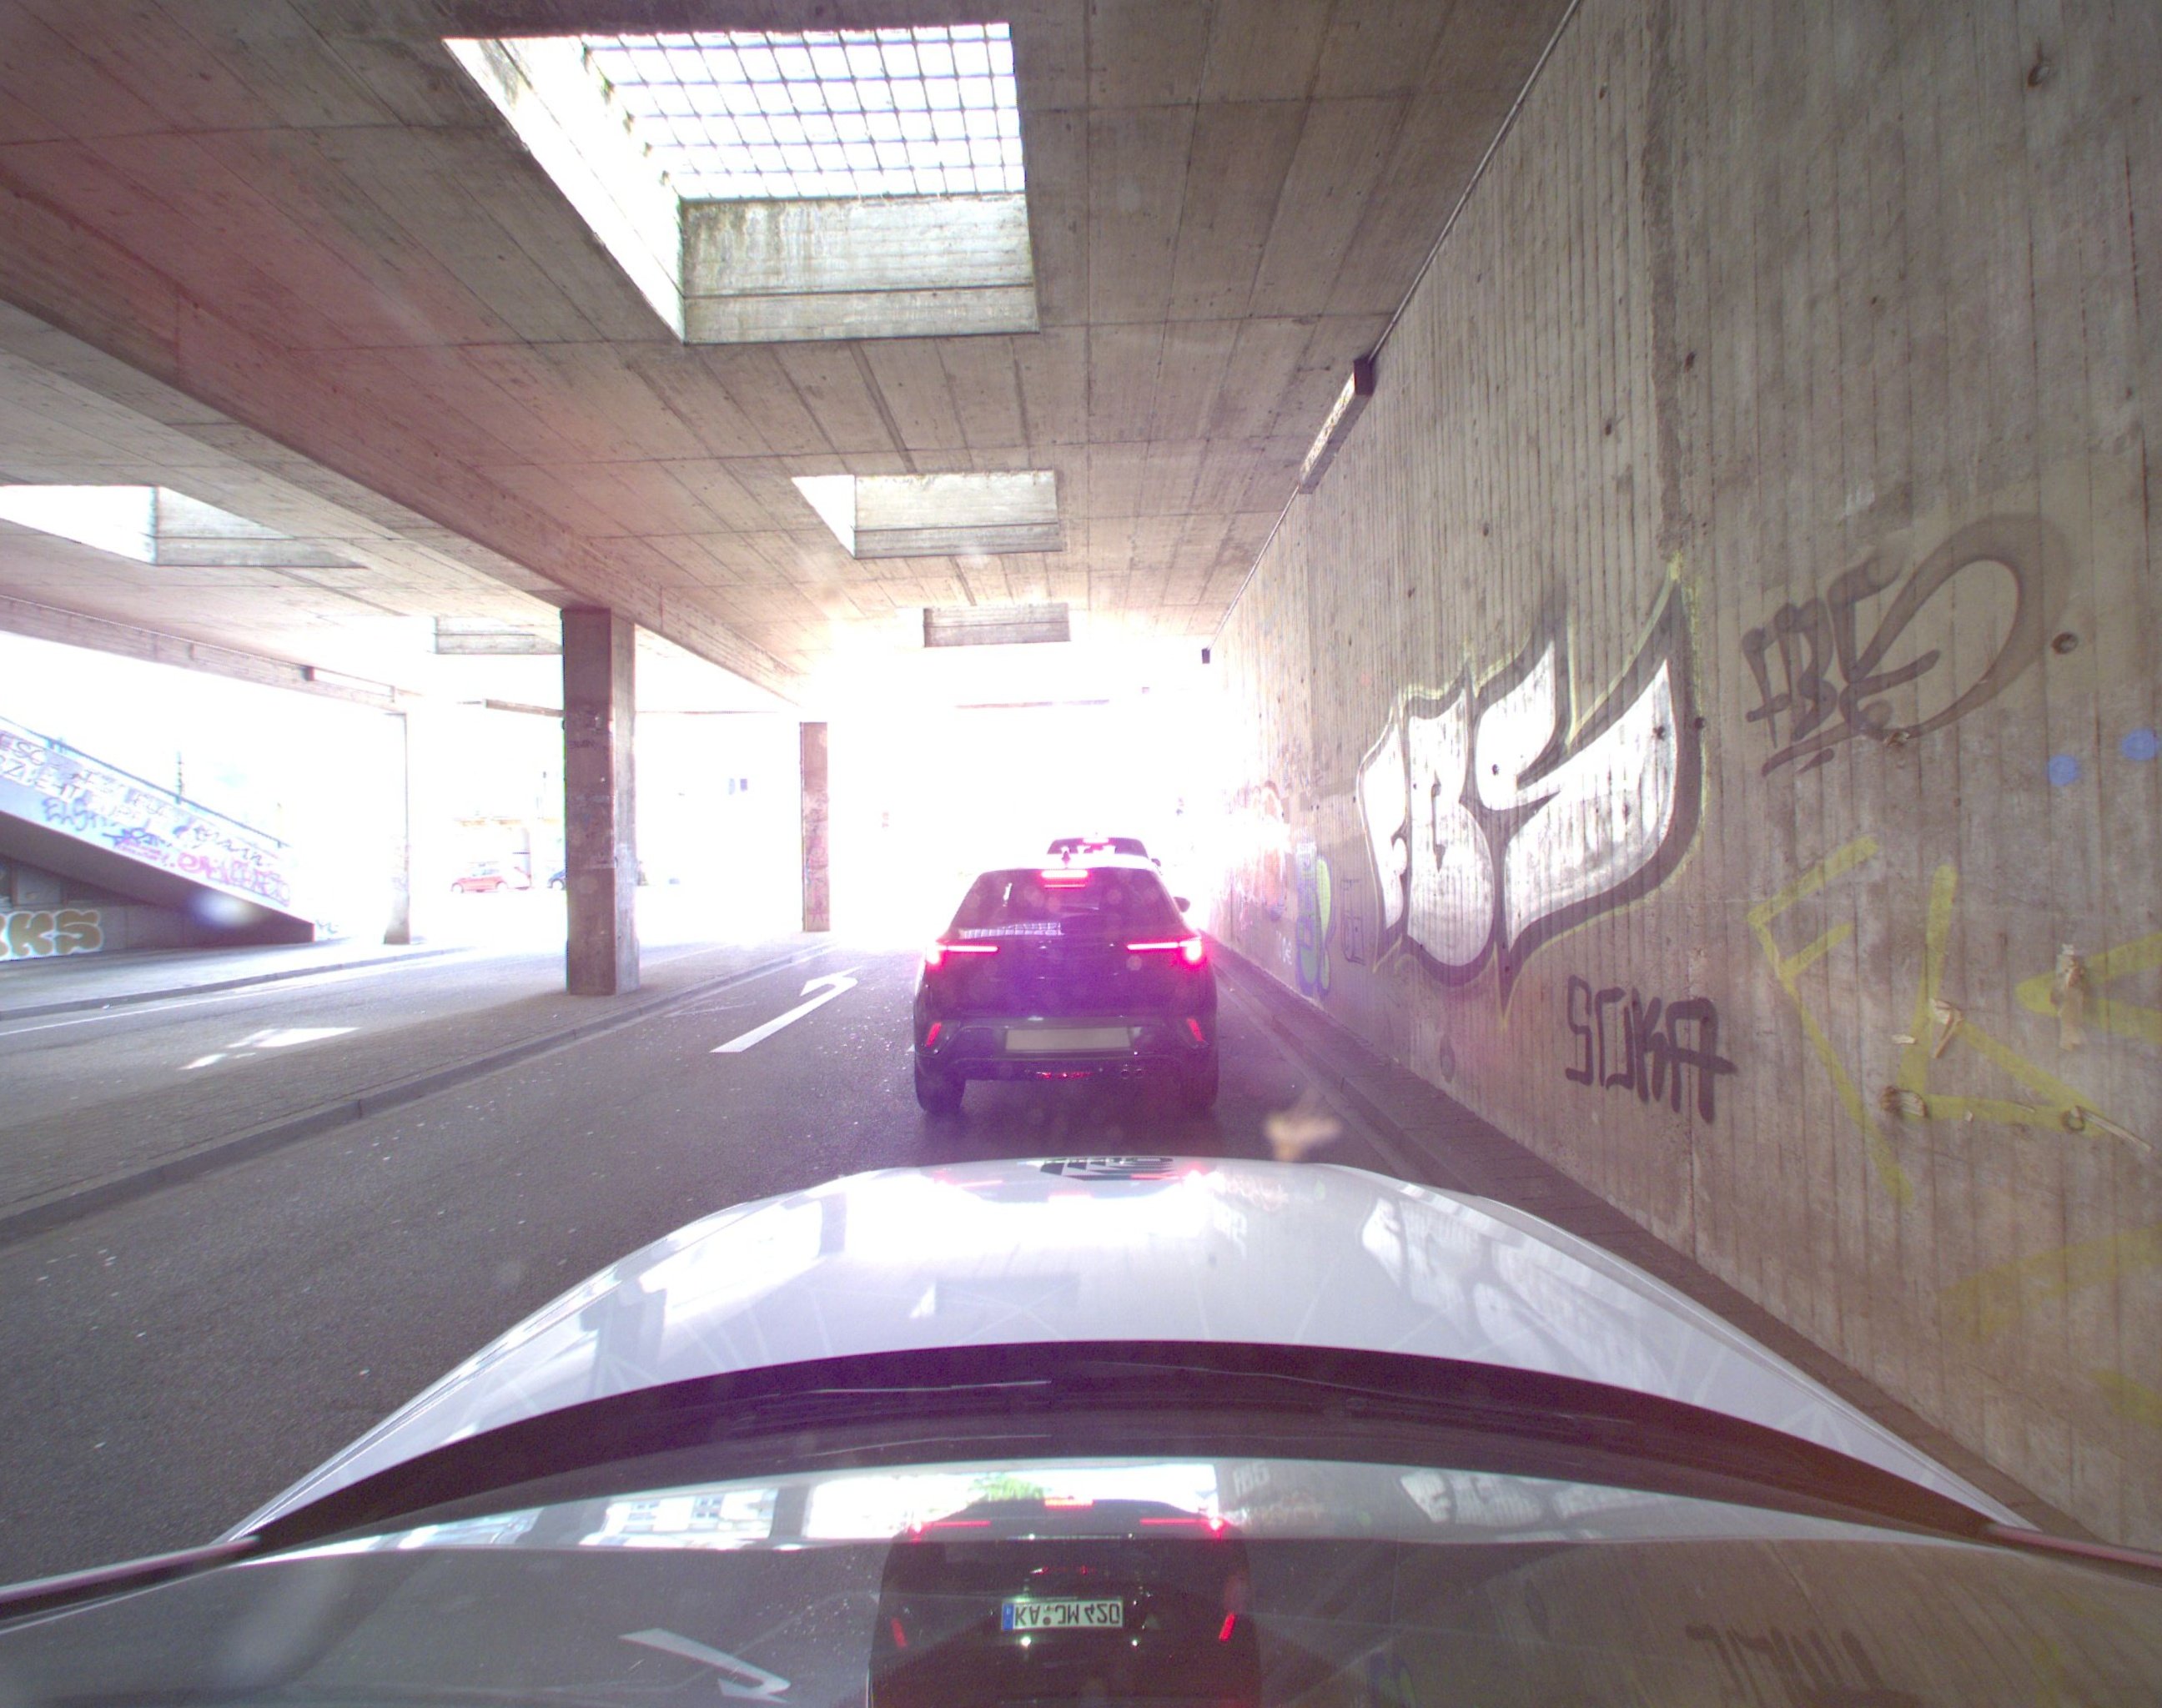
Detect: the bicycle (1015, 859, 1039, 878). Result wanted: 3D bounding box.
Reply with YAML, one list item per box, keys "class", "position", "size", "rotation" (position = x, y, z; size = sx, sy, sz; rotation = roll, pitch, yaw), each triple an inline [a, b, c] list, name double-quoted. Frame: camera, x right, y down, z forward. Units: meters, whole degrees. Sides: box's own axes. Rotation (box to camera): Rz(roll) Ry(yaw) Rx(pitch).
- class: "bicycle"
  position: [-3.407, 0.900, 51.577]
  size: [0.730, 1.130, 2.036]
  rotation: [-2, 0, 19]

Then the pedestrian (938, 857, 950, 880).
- class: "pedestrian"
  position: [-10.229, 1.077, 60.973]
  size: [0.618, 1.705, 0.726]
  rotation: [0, -1, 16]

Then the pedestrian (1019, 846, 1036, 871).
- class: "pedestrian"
  position: [-3.392, 0.266, 51.664]
  size: [0.729, 1.585, 0.894]
  rotation: [0, -1, 18]

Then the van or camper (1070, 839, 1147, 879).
- class: "van or camper"
  position: [1.511, 0.279, 43.680]
  size: [3.854, 2.013, 2.005]
  rotation: [-2, 0, 9]

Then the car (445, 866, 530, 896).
- class: "car"
  position: [-32.838, 1.468, 45.109]
  size: [3.519, 1.506, 1.563]
  rotation: [-2, 0, 2]

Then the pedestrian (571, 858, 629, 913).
- class: "pedestrian"
  position: [-15.944, 1.038, 27.017]
  size: [1.103, 1.737, 1.146]
  rotation: [-2, 0, 15]

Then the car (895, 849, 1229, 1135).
- class: "car"
  position: [-0.028, 0.723, 6.281]
  size: [1.746, 1.498, 4.002]
  rotation: [0, 0, 2]

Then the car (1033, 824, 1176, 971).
- class: "car"
  position: [0.360, 0.543, 12.215]
  size: [1.779, 1.833, 3.962]
  rotation: [-1, 0, 2]

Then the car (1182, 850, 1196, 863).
- class: "car"
  position: [14.555, 0.321, 109.962]
  size: [1.573, 1.640, 3.819]
  rotation: [-2, 0, 12]

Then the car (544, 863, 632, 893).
- class: "car"
  position: [-27.384, 1.314, 45.286]
  size: [3.742, 1.508, 1.752]
  rotation: [-2, 0, 0]

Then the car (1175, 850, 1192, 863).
- class: "car"
  position: [11.756, 0.285, 93.318]
  size: [1.588, 1.452, 3.807]
  rotation: [-2, 0, 11]
